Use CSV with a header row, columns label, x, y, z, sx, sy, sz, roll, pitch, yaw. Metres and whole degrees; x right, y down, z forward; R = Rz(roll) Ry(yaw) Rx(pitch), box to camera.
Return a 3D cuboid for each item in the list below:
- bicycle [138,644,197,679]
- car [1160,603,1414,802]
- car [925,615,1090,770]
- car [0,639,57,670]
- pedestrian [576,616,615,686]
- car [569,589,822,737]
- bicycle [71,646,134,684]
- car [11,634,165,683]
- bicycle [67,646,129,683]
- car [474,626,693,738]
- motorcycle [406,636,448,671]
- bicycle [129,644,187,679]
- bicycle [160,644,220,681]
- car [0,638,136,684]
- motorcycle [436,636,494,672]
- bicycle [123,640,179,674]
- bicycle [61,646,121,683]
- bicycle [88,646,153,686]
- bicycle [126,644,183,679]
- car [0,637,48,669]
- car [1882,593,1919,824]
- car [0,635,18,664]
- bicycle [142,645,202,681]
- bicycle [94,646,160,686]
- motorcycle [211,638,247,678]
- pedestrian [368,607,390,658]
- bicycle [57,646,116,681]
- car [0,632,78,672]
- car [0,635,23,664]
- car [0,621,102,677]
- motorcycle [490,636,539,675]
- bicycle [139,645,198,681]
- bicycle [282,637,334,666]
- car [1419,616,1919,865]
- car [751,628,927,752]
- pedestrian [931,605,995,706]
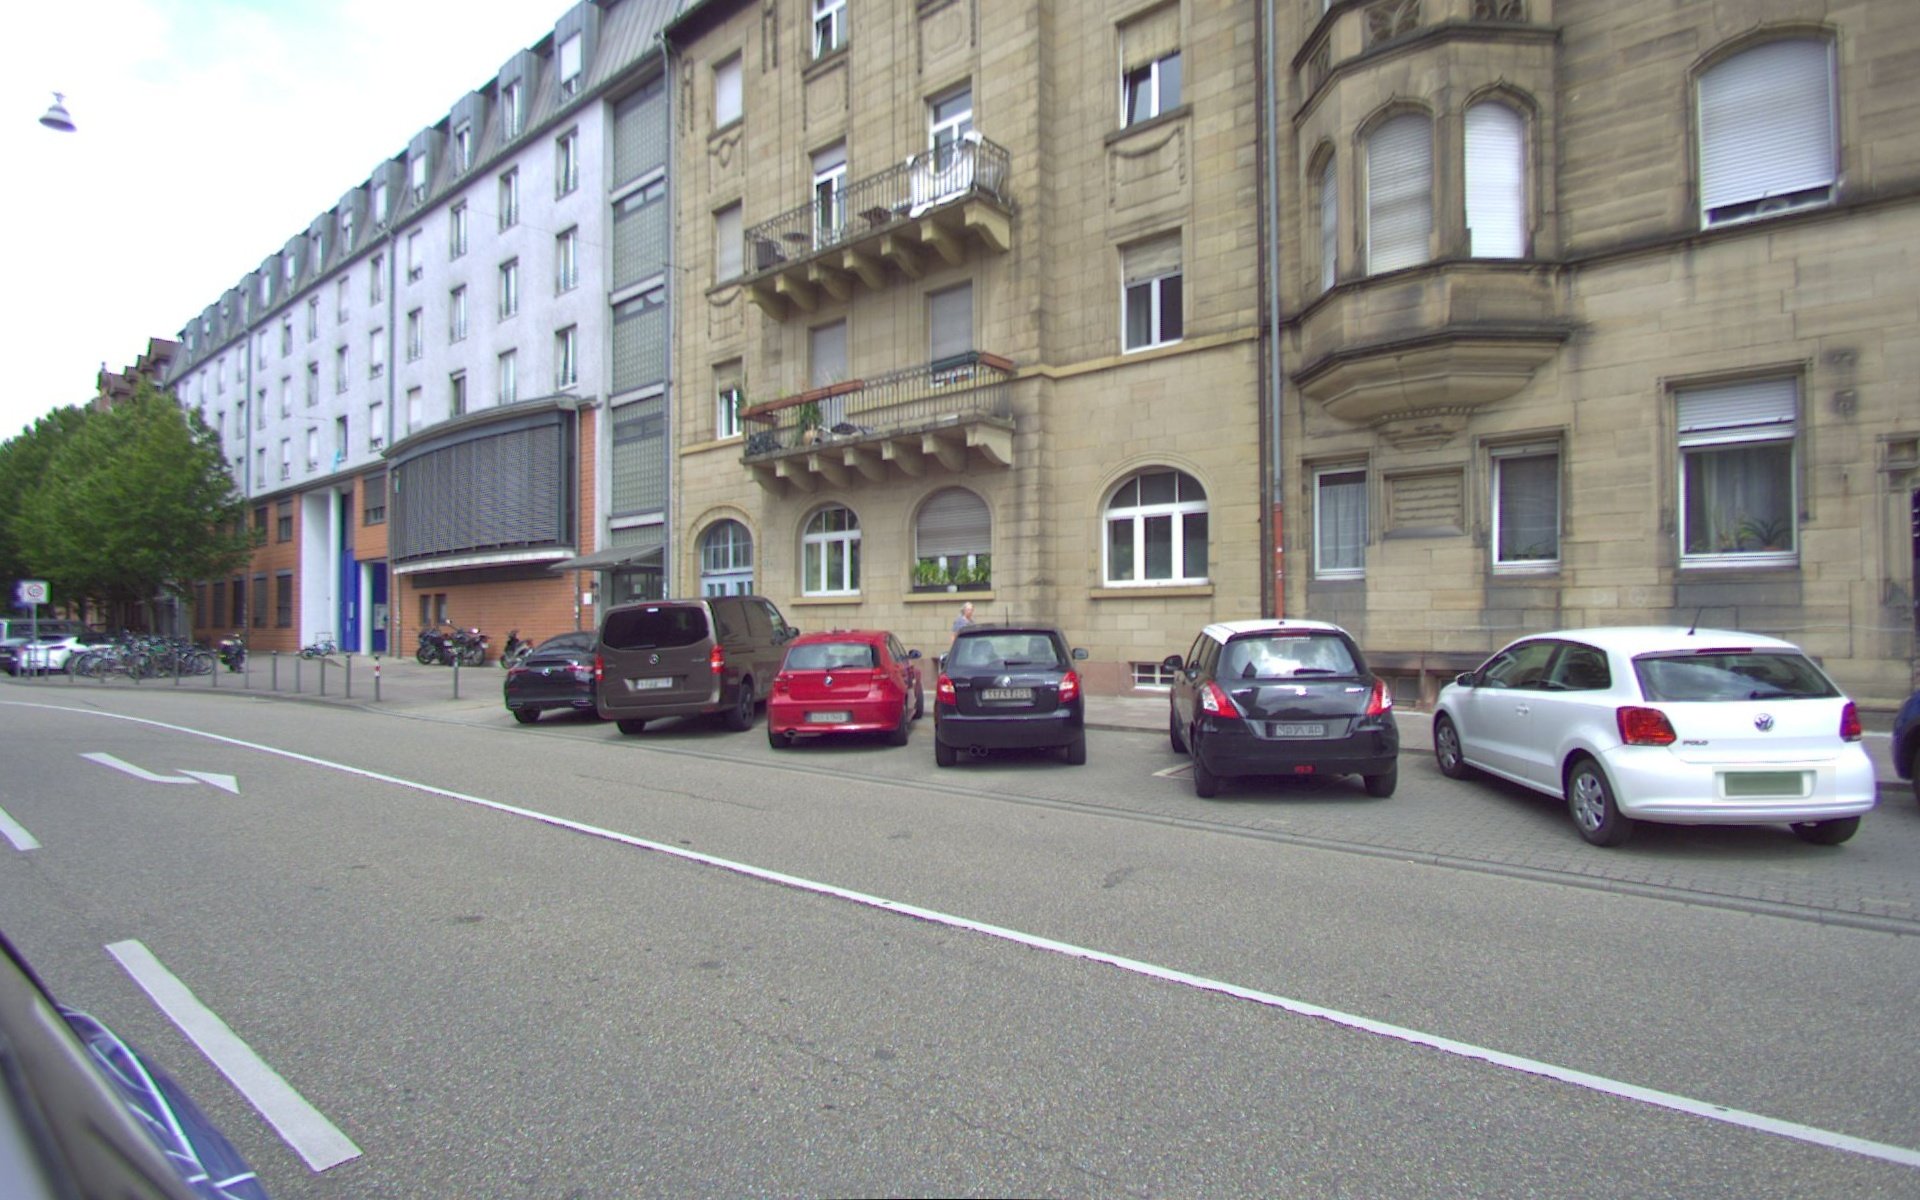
label,x,y,z,sx,sy,sz,roll,pitch,yaw
bicycle,-24.701,1.901,31.559,0.402,1.034,1.390,-2,-2,43
car,3.016,0.879,10.159,1.776,1.576,4.001,-1,-2,9
car,0.659,0.968,11.978,1.611,1.514,3.989,-1,-2,6
car,-44.825,2.539,47.198,1.577,1.400,3.996,-1,-2,7
pedestrian,-7.981,1.115,22.165,0.507,1.497,0.656,-1,-2,27
car,-3.833,0.899,15.860,2.096,1.924,5.260,-1,-2,7
bicycle,-25.959,1.962,30.638,0.402,1.046,1.391,-2,0,43
car,-29.855,1.968,34.829,1.583,1.557,3.997,-1,-2,7
bicycle,-26.444,1.962,31.058,0.402,1.034,1.391,-2,0,43
car,-6.248,1.283,17.457,1.874,1.420,4.669,-2,1,2
motorcycle,-17.141,1.711,32.536,1.655,1.057,0.577,-2,-1,40
bicycle,-25.371,1.934,32.033,0.402,1.034,1.390,-2,-2,43
bicycle,-22.925,1.852,30.153,0.402,1.034,1.390,-2,-2,43
car,-32.021,2.133,35.939,1.697,1.480,4.307,-1,-2,7
motorcycle,-15.207,1.650,31.080,1.959,1.057,0.579,-2,-1,30
bicycle,-26.237,1.834,32.838,0.402,1.034,1.390,-2,-2,43
bicycle,-27.391,2.020,31.907,0.402,1.034,1.391,-2,0,43
bicycle,-24.381,1.918,29.406,0.402,1.046,1.391,-2,0,43
bicycle,-25.736,1.961,32.352,0.402,1.034,1.390,-2,-2,43
car,-46.559,2.564,48.574,1.671,1.465,3.996,-1,-2,7
car,7.644,0.732,5.629,1.703,1.664,3.772,-1,-2,5
car,-54.647,2.773,55.710,1.671,1.580,3.996,-1,-2,7
bicycle,-23.991,1.906,30.818,0.402,1.034,1.390,-2,-2,43
bicycle,-23.716,1.865,28.815,0.402,1.046,1.391,-2,0,43
motorcycle,-22.646,1.791,31.343,1.779,1.181,0.577,-2,-1,43
pedestrian,-23.025,1.290,40.120,0.718,2.029,0.785,1,-2,-29
bicycle,-27.995,2.027,32.444,0.402,1.034,1.391,-2,0,43
car,-40.645,2.238,43.510,1.692,1.627,3.996,-1,-2,7
car,-52.625,2.672,53.820,1.671,1.580,3.996,-1,-2,7
car,-36.498,1.886,39.802,1.841,2.013,3.993,-1,0,10
motorcycle,-12.552,1.558,28.493,1.793,1.057,0.577,-2,-1,42
bicycle,-24.379,1.924,31.189,0.402,1.034,1.390,-2,-2,43
bicycle,-25.491,2.017,39.564,1.590,0.933,0.933,-6,2,-37
car,5.220,0.900,7.996,1.720,1.493,3.680,-1,-2,5
car,-1.457,1.094,13.635,1.772,1.420,4.009,-1,-2,2
pedestrian,0.055,0.899,16.742,0.678,1.607,0.783,-2,0,41
